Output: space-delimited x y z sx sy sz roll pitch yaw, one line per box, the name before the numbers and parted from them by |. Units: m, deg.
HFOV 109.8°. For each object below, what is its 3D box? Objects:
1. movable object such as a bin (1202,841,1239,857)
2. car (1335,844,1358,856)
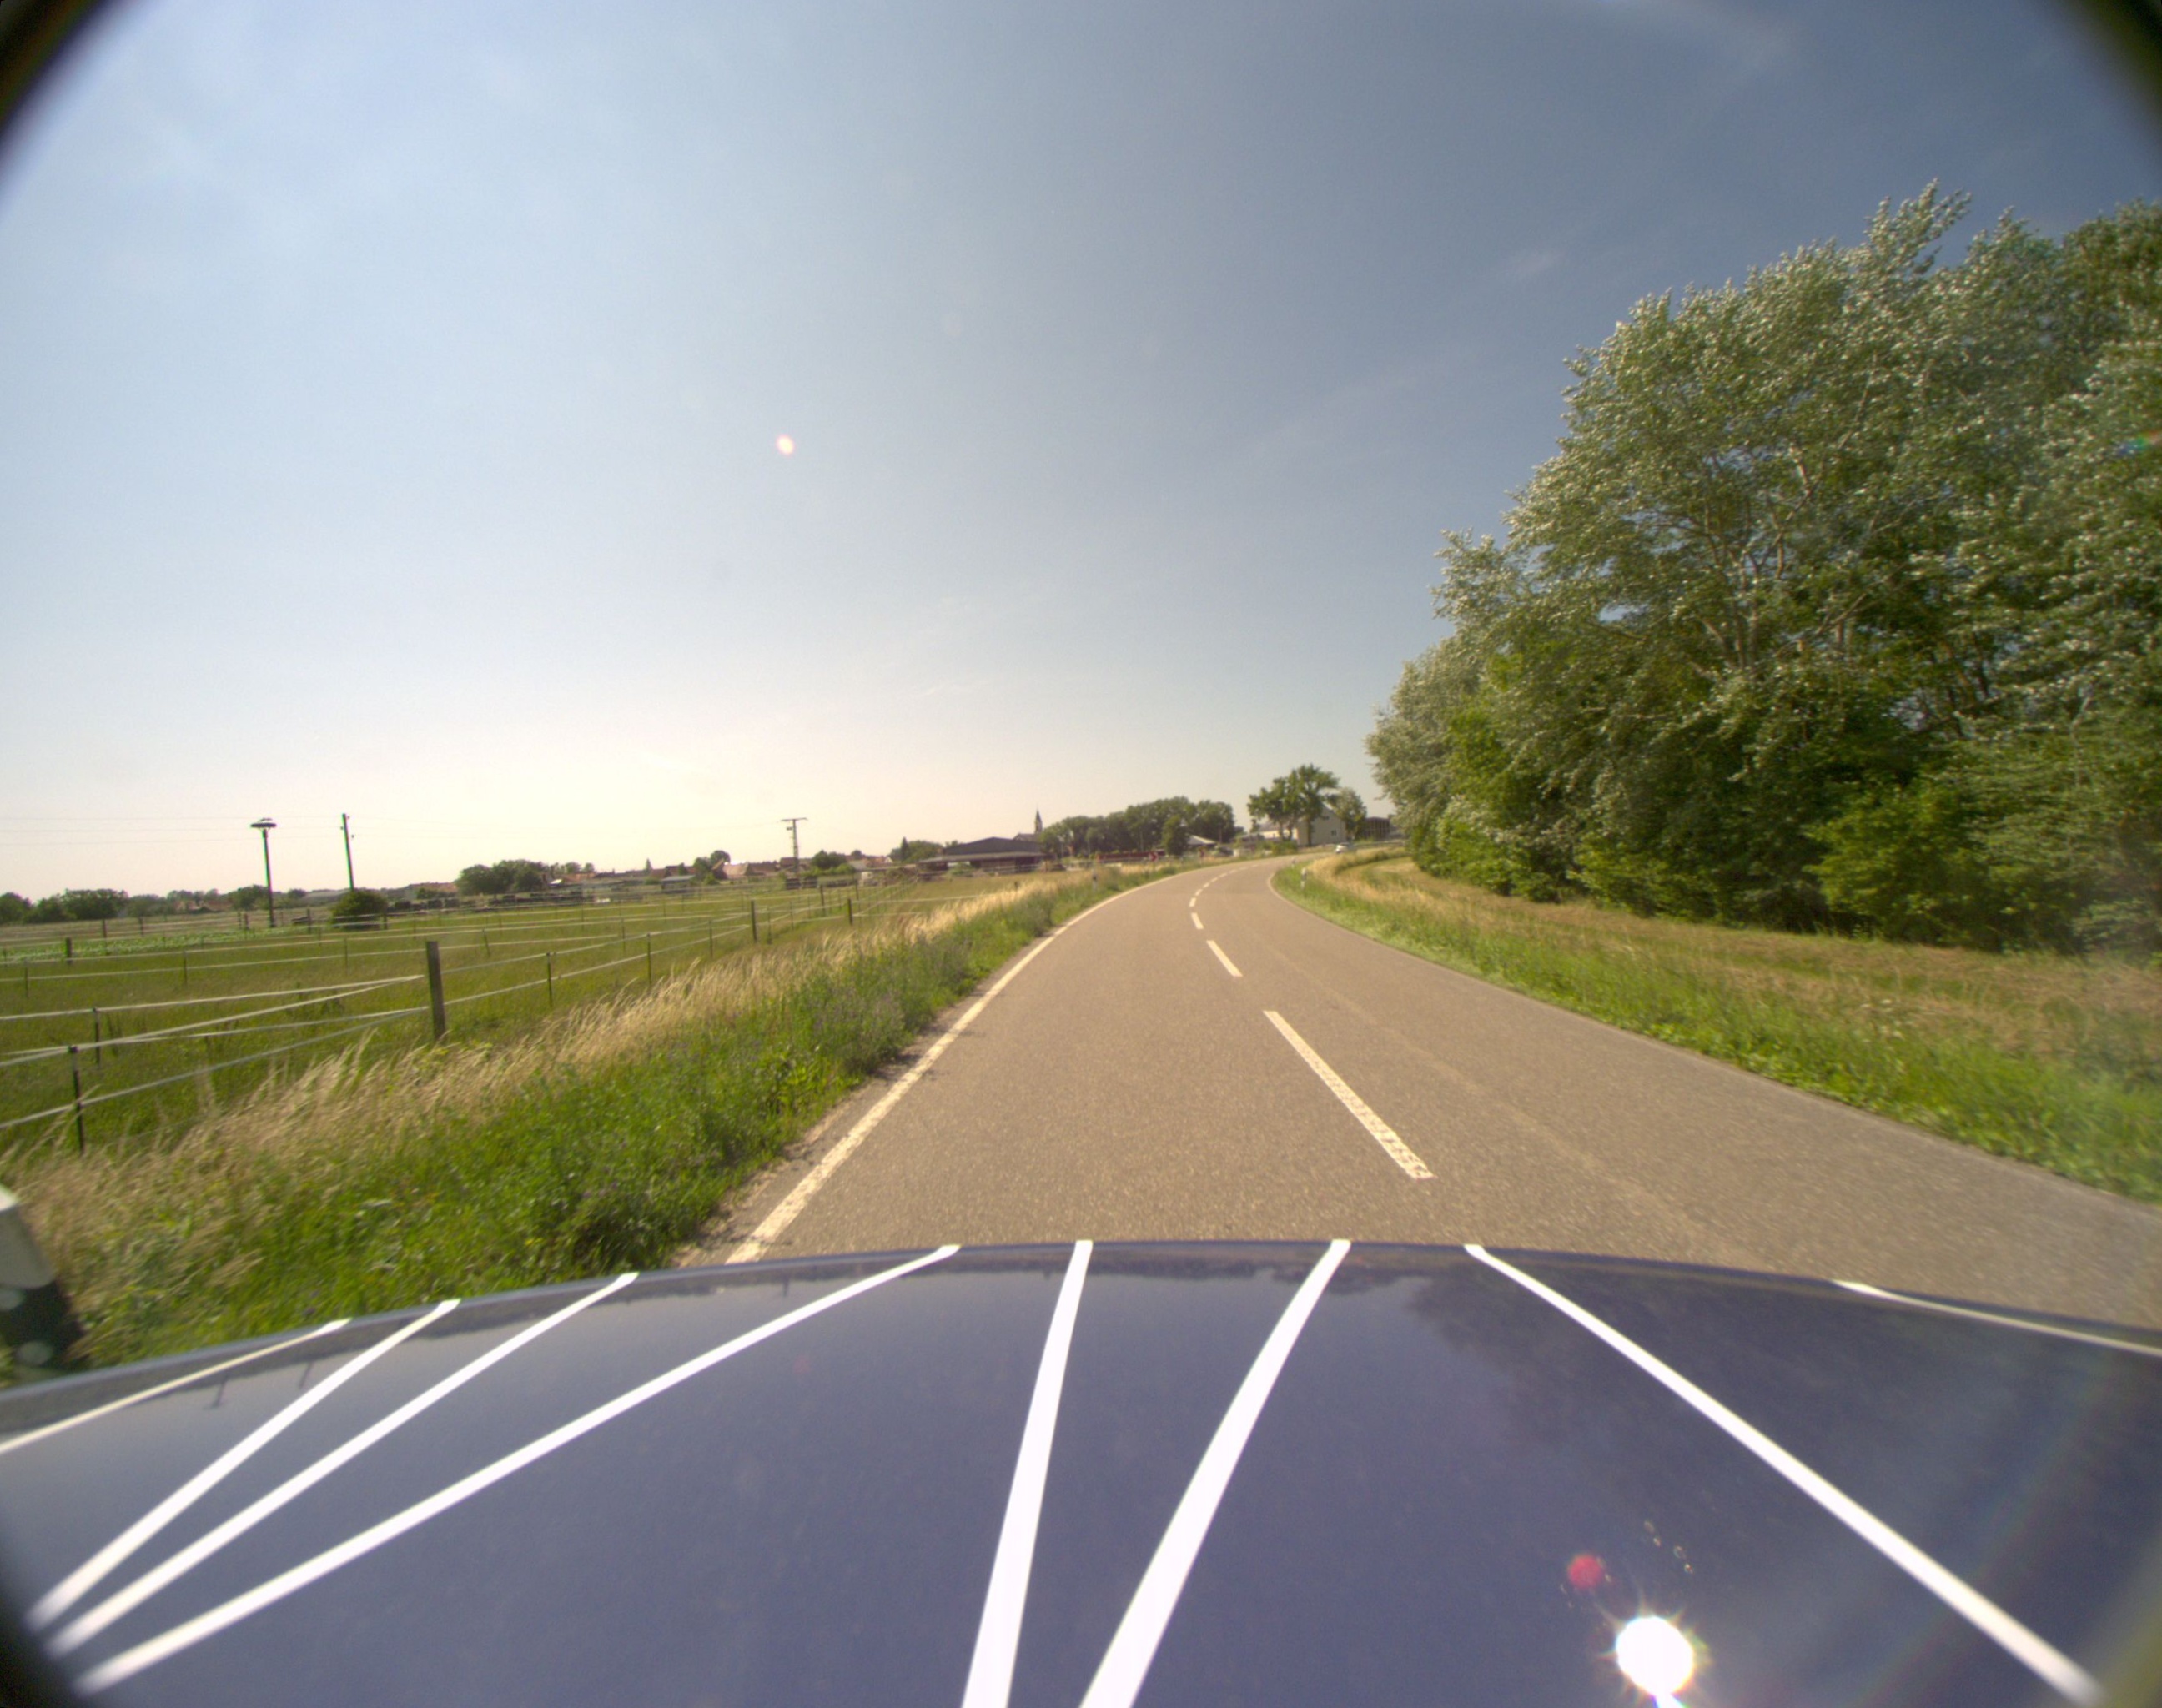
movable object such as a bin | 28.023 -0.971 152.816 6.511 2.753 3.008 -4 -1 -22
car | 33.825 -0.515 96.748 1.784 1.419 4.067 1 2 34
